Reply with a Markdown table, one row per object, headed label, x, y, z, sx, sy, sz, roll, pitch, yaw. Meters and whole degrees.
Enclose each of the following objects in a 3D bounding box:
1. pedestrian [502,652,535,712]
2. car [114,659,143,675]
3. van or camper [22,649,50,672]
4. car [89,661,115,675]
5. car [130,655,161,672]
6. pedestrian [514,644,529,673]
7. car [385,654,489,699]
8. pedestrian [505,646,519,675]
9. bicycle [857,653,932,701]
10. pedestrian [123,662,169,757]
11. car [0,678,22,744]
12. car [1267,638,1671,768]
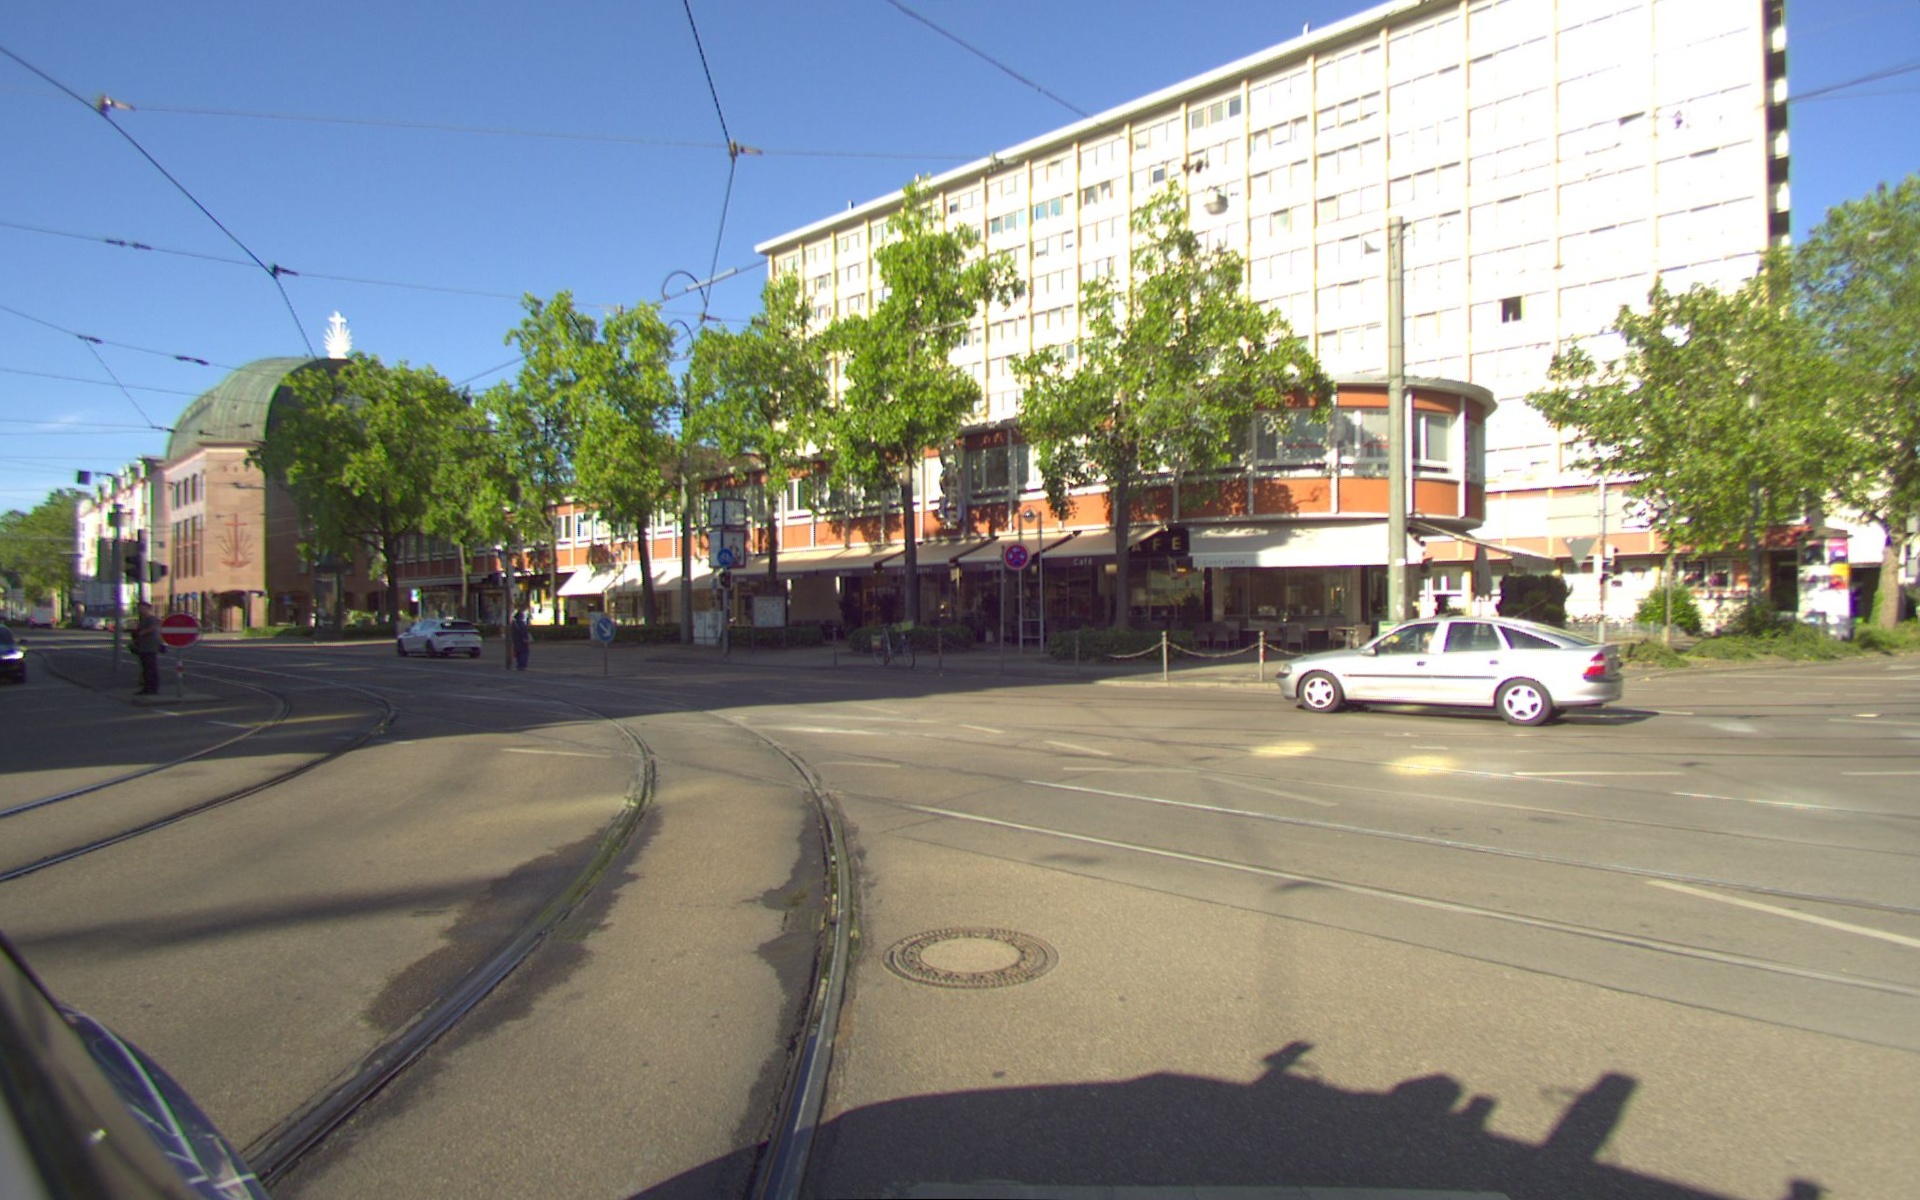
| label | x | y | z | sx | sy | sz | roll | pitch | yaw |
| --- | --- | --- | --- | --- | --- | --- | --- | --- | --- |
| pedestrian | -11.646 | 2.156 | 26.691 | 0.859 | 1.529 | 0.494 | -4 | -4 | 43 |
| car | -86.209 | 6.920 | 104.871 | 3.853 | 1.465 | 1.831 | -4 | -1 | 43 |
| van or camper | -115.995 | 7.652 | 127.012 | 7.020 | 2.760 | 2.014 | -4 | -3 | 43 |
| car | -98.205 | 7.812 | 115.858 | 3.853 | 1.465 | 1.831 | -4 | -1 | 43 |
| car | -79.070 | 6.173 | 98.241 | 3.470 | 1.465 | 1.730 | -4 | -1 | 42 |
| pedestrian | -27.409 | 3.647 | 63.245 | 0.706 | 1.764 | 0.566 | -4 | -3 | 44 |
| car | -19.463 | 2.830 | 37.581 | 4.500 | 1.462 | 1.972 | -4 | -2 | 42 |
| pedestrian | -27.781 | 3.746 | 62.744 | 0.706 | 1.785 | 0.566 | -4 | -3 | 44 |
| bicycle | -1.735 | 2.017 | 26.527 | 2.234 | 1.195 | 0.492 | -4 | -2 | 42 |
| pedestrian | -15.741 | 2.096 | 19.570 | 0.895 | 1.777 | 0.551 | -4 | -4 | 43 |
| car | -23.823 | 2.683 | 24.152 | 4.153 | 1.434 | 1.791 | -4 | 0 | 43 |
| car | 6.956 | 1.347 | 14.158 | 4.648 | 1.462 | 1.972 | -4 | -2 | 42 |
